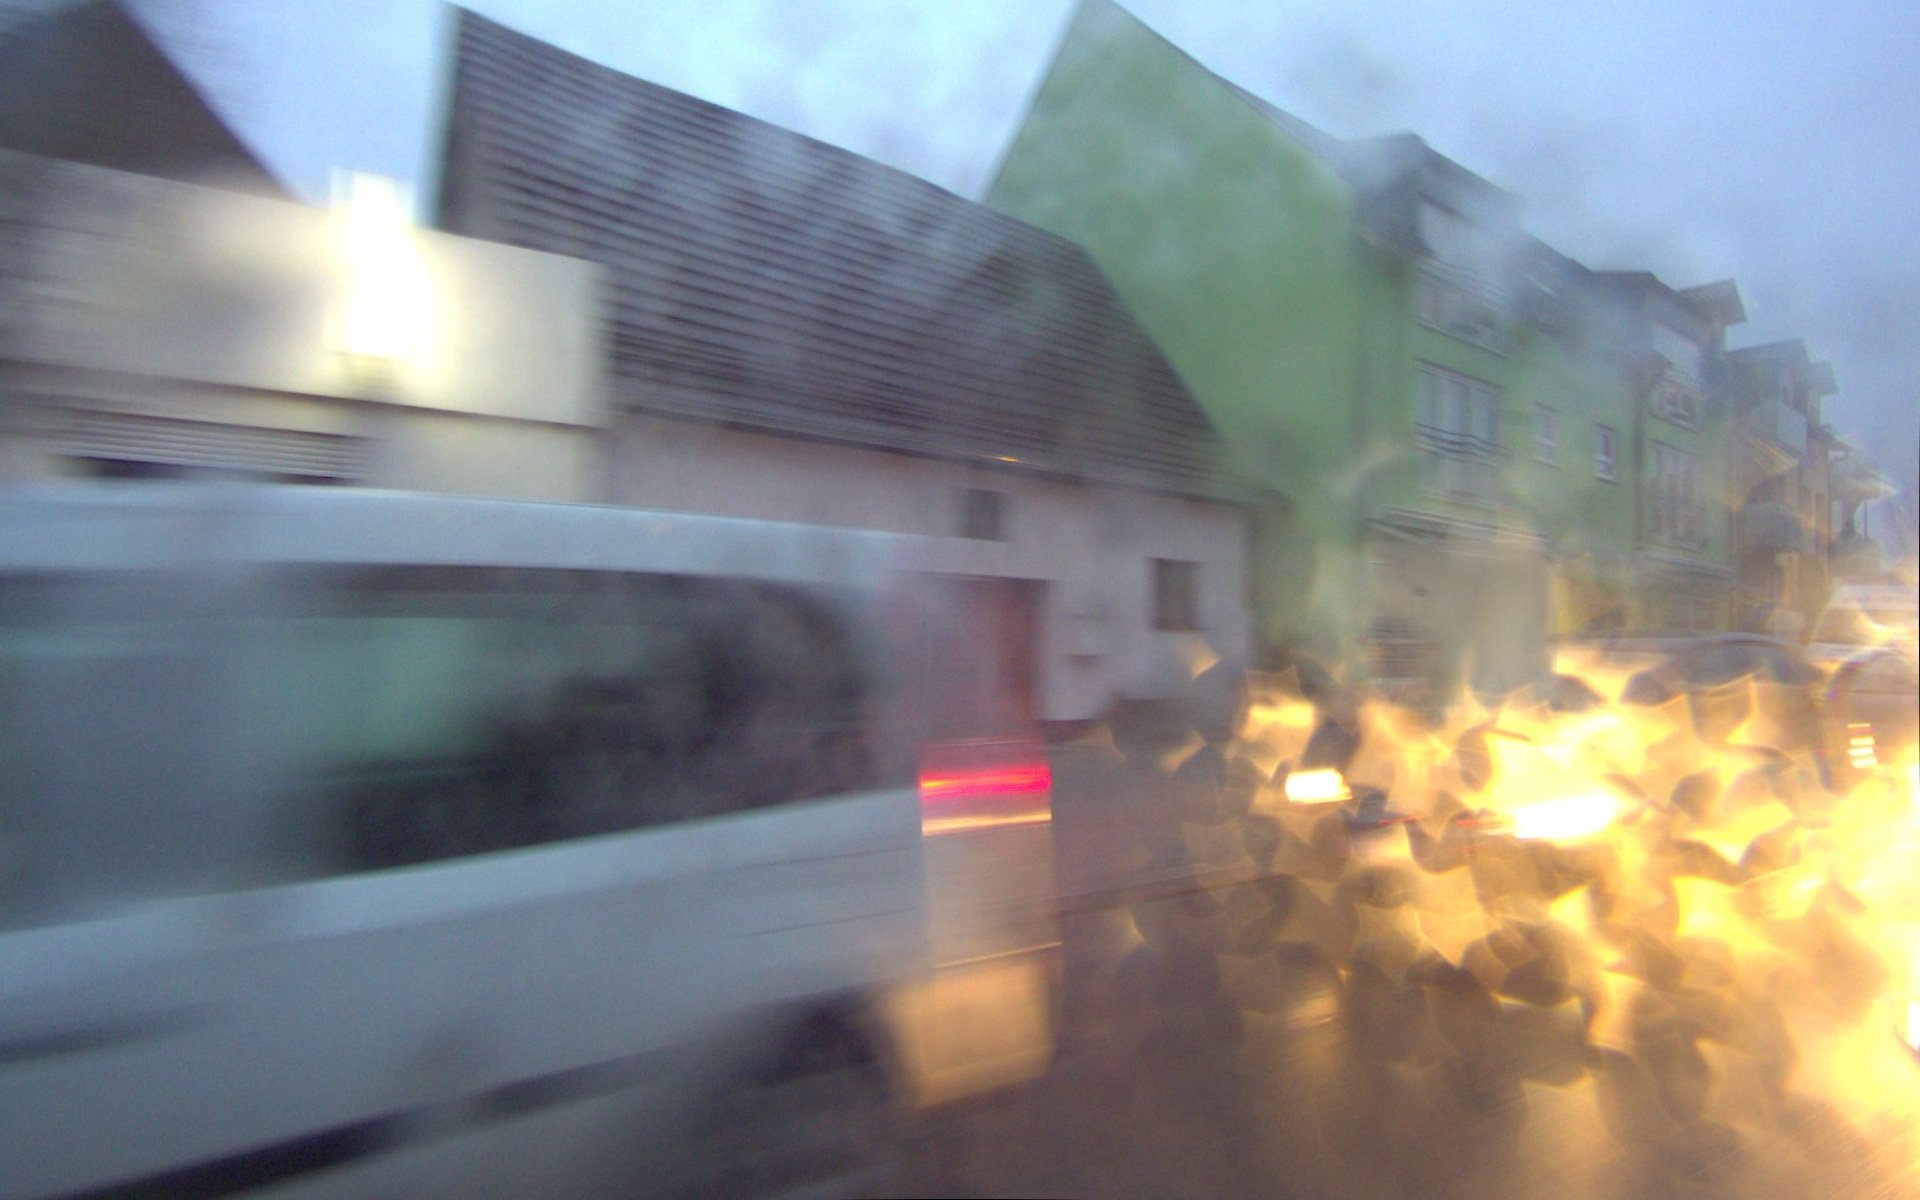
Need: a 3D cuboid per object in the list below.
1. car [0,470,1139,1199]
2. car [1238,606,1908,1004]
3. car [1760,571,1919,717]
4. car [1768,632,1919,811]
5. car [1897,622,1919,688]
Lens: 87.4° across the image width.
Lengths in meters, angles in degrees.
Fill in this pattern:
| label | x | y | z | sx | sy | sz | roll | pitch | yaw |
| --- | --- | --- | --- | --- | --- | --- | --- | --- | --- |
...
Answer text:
| label | x | y | z | sx | sy | sz | roll | pitch | yaw |
| --- | --- | --- | --- | --- | --- | --- | --- | --- | --- |
| car | -1.915 | 0.653 | 2.097 | 4.370 | 1.567 | 1.940 | -2 | -2 | -34 |
| car | 3.863 | 0.977 | 6.098 | 4.215 | 1.576 | 1.846 | 4 | 0 | -34 |
| car | 19.172 | 0.904 | 20.681 | 6.695 | 2.594 | 2.469 | 3 | -1 | -36 |
| car | 10.209 | 1.142 | 10.507 | 4.223 | 1.576 | 1.977 | 1 | -2 | -40 |
| car | 29.574 | 1.654 | 29.810 | 5.261 | 1.868 | 1.977 | 2 | -1 | -40 |
